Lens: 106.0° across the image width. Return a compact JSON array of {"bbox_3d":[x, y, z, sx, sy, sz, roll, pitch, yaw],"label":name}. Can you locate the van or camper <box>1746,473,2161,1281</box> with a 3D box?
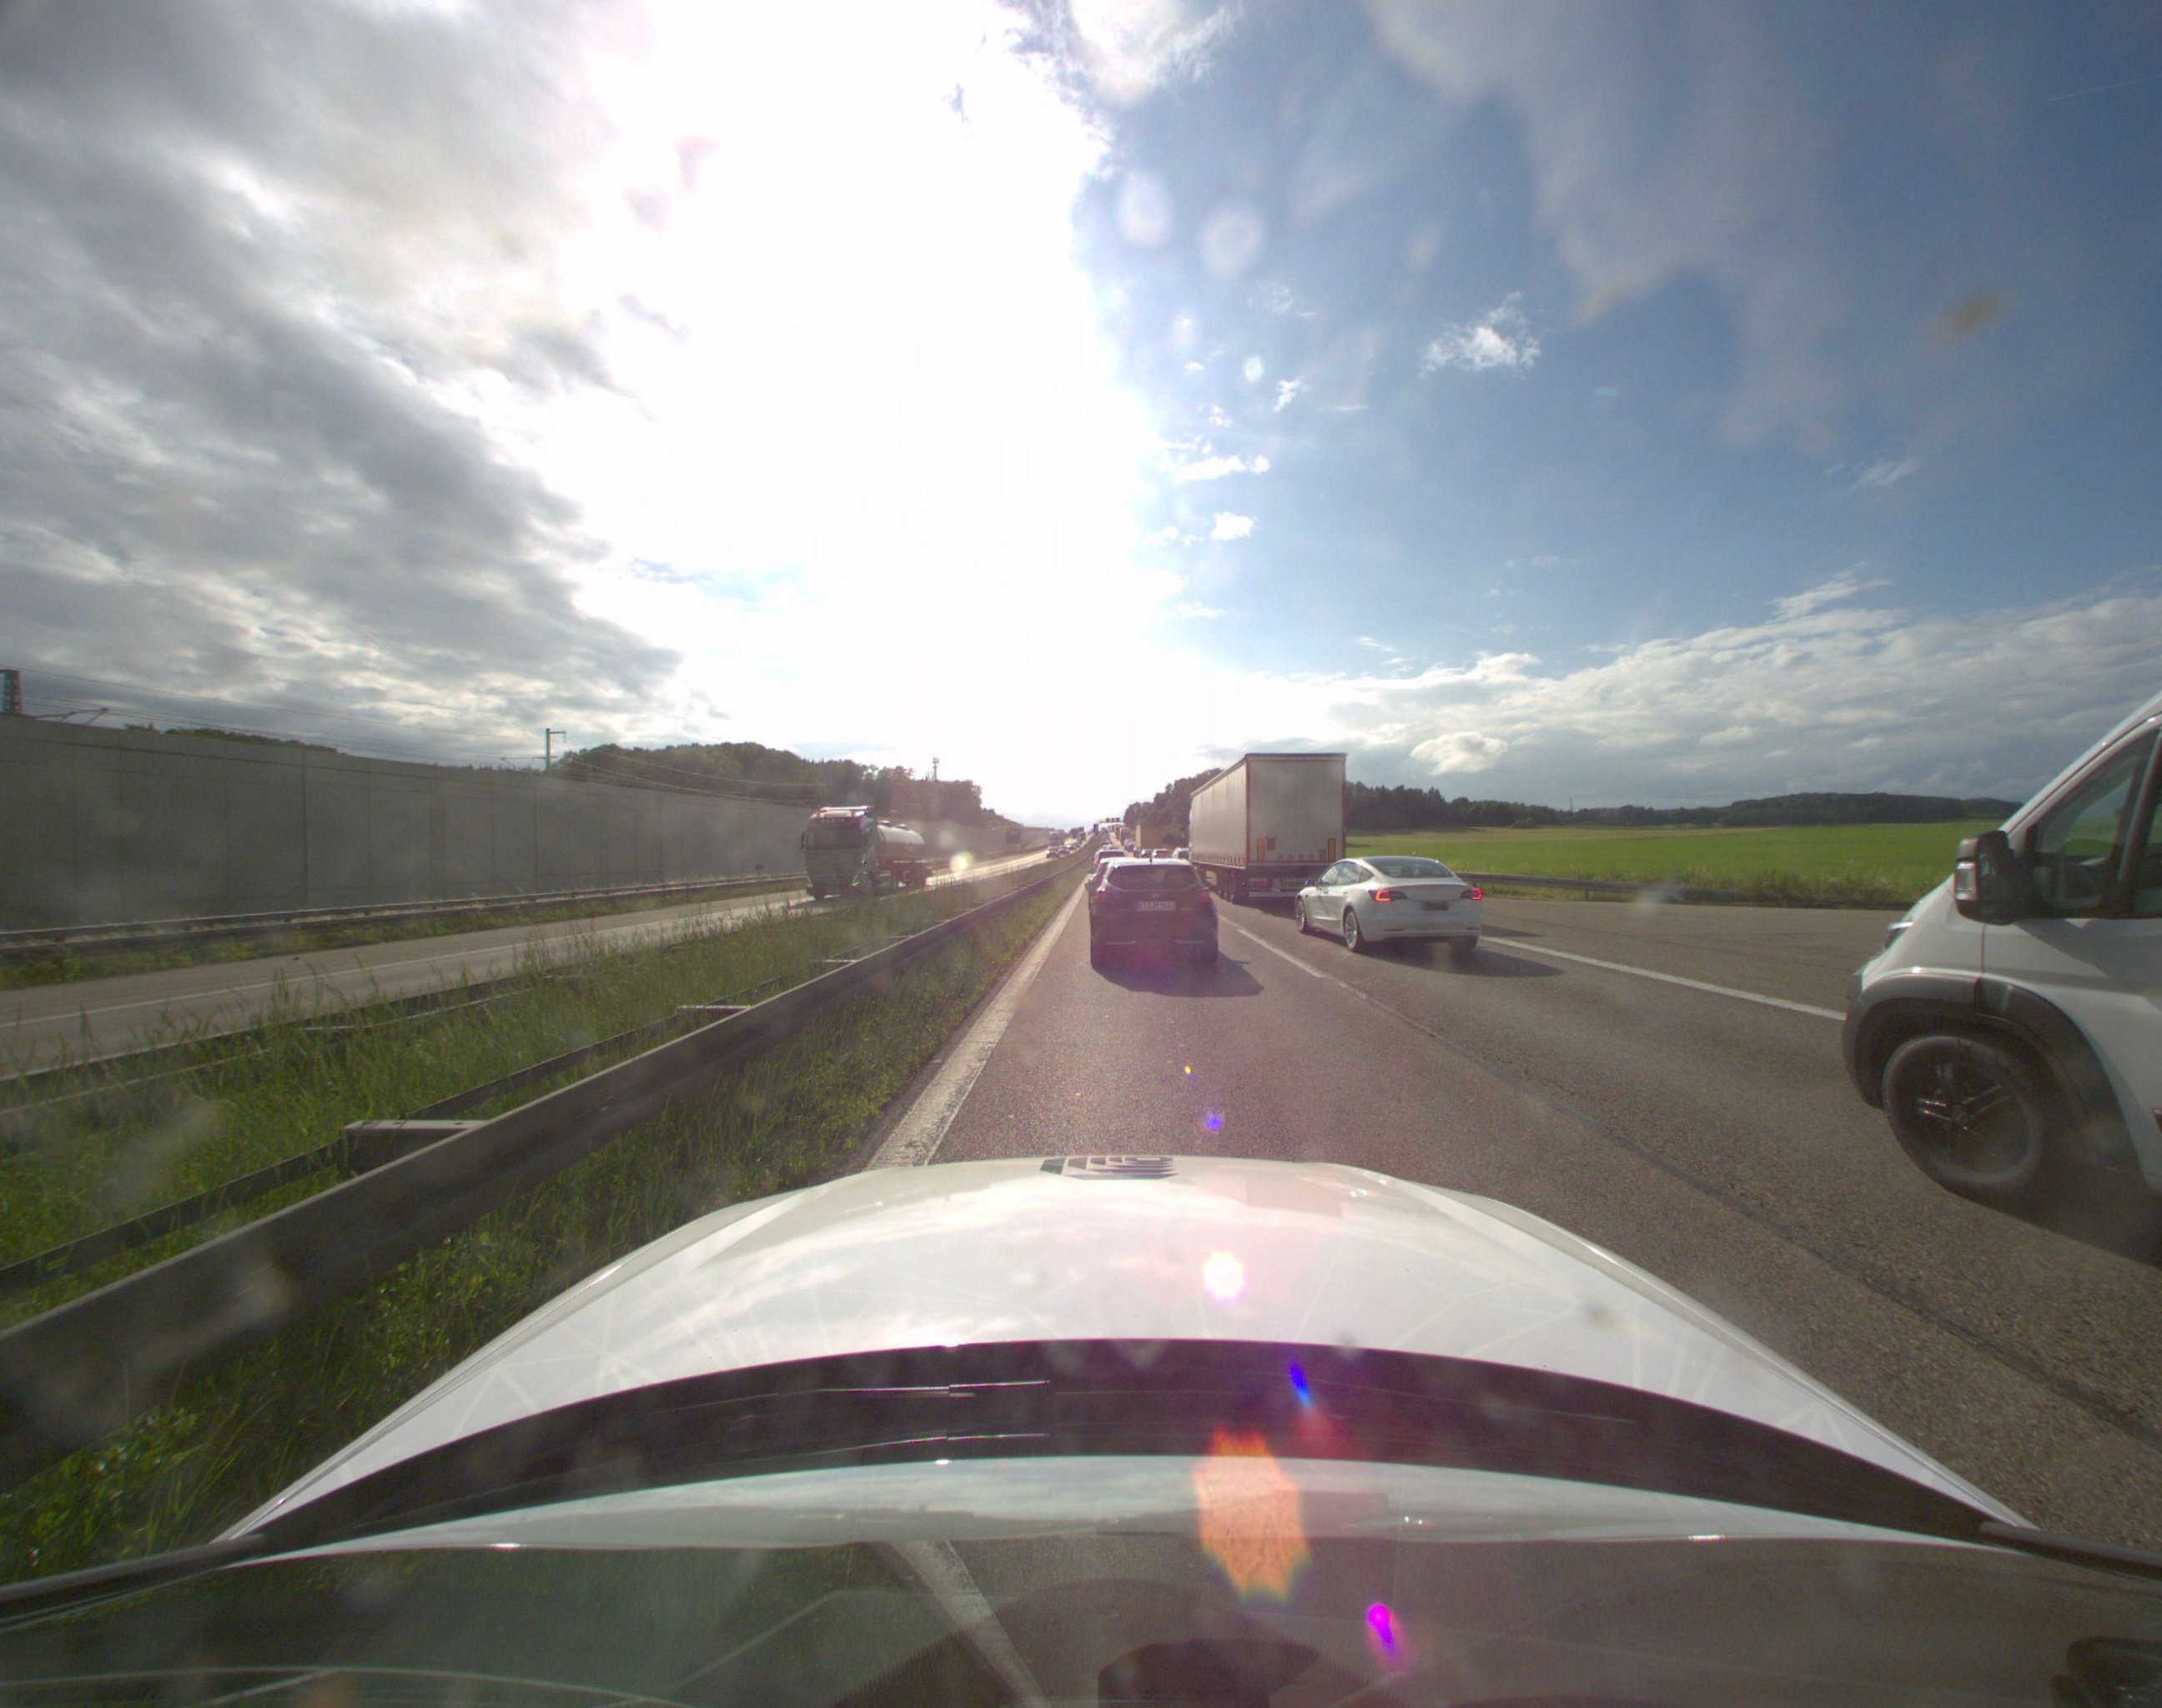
[{"bbox_3d":[4.652,0.054,1.213,2.207,2.681,6.334,-1,0,1],"label":"van or camper"}]

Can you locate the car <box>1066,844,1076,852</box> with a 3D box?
[{"bbox_3d":[-2.144,-1.255,171.445,1.762,1.479,3.831,-1,-1,2],"label":"car"}]

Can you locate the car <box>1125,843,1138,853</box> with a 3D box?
[{"bbox_3d":[8.911,-1.044,143.176,1.868,1.644,4.230,-1,1,-1],"label":"car"}]

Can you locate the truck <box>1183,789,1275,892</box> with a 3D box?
[{"bbox_3d":[6.098,-0.494,34.404,3.121,4.016,5.166,-1,-1,2],"label":"truck"}]

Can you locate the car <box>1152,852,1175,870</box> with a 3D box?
[{"bbox_3d":[7.803,0.642,77.736,1.866,1.644,4.234,-2,0,2],"label":"car"}]

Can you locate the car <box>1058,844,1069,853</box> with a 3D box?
[{"bbox_3d":[-3.120,-0.879,142.866,1.691,1.499,4.428,-1,0,1],"label":"car"}]

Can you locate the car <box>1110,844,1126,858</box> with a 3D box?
[{"bbox_3d":[4.618,-0.416,101.911,1.866,1.644,4.235,-1,1,2],"label":"car"}]

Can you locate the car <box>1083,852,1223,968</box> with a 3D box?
[{"bbox_3d":[1.005,0.730,12.612,1.766,1.451,4.234,-1,0,2],"label":"car"}]

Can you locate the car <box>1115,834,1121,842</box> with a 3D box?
[{"bbox_3d":[11.623,-5.029,255.331,1.866,2.158,5.214,-1,3,2],"label":"car"}]

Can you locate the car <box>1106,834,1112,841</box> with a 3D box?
[{"bbox_3d":[8.650,-5.153,251.896,1.866,2.158,5.214,-1,3,2],"label":"car"}]

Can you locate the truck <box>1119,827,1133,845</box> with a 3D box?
[{"bbox_3d":[12.480,-4.967,225.807,3.452,4.576,12.442,0,1,1],"label":"truck"}]

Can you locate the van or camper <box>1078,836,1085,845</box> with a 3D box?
[{"bbox_3d":[0.055,-4.328,260.178,2.082,2.819,5.897,0,-1,2],"label":"van or camper"}]

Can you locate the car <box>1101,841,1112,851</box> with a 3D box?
[{"bbox_3d":[4.441,-1.453,142.261,1.867,1.644,4.233,-1,1,1],"label":"car"}]

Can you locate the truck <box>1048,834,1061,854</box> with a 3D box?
[{"bbox_3d":[-5.949,-2.239,181.254,2.371,4.181,5.934,-2,0,2],"label":"truck"}]

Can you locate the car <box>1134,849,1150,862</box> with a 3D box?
[{"bbox_3d":[8.416,0.226,111.887,1.867,1.644,4.231,-1,0,0],"label":"car"}]

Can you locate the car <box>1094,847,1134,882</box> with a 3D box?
[{"bbox_3d":[1.660,0.512,41.441,1.866,1.644,4.234,-1,0,2],"label":"car"}]

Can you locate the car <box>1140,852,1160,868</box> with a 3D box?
[{"bbox_3d":[7.395,0.646,87.205,1.866,1.644,4.234,-1,0,2],"label":"car"}]

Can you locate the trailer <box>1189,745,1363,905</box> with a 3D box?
[{"bbox_3d":[5.803,-0.616,27.255,3.118,4.011,13.373,-1,-1,2],"label":"trailer"}]

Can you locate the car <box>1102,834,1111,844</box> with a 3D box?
[{"bbox_3d":[5.781,-3.418,186.249,1.866,2.158,5.214,-1,3,2],"label":"car"}]

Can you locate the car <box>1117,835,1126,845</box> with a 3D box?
[{"bbox_3d":[9.925,-3.456,200.130,1.866,2.158,5.214,-1,3,2],"label":"car"}]

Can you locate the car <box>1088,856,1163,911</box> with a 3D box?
[{"bbox_3d":[1.214,0.754,22.890,1.866,1.358,4.234,-1,0,2],"label":"car"}]

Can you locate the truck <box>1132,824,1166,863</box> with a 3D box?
[{"bbox_3d":[8.255,-1.163,100.673,3.286,4.577,12.440,0,-1,1],"label":"truck"}]

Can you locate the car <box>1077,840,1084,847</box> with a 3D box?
[{"bbox_3d":[-0.176,-2.844,221.013,1.702,1.706,4.174,-1,0,1],"label":"car"}]

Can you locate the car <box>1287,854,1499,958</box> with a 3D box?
[{"bbox_3d":[4.873,0.714,13.457,1.783,1.394,4.436,-1,0,0],"label":"car"}]

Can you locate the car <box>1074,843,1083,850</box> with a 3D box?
[{"bbox_3d":[-0.585,-1.767,191.971,1.735,1.358,4.234,-1,0,2],"label":"car"}]

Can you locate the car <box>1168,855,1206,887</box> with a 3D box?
[{"bbox_3d":[5.737,0.887,44.392,1.690,1.610,4.440,-1,0,3],"label":"car"}]

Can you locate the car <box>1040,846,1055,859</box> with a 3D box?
[{"bbox_3d":[-4.928,-0.221,119.723,1.774,1.737,4.104,-1,0,2],"label":"car"}]

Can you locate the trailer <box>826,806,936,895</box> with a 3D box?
[{"bbox_3d":[-9.947,-0.144,42.010,2.579,3.902,10.867,-2,0,1],"label":"trailer"}]

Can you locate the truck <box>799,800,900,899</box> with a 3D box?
[{"bbox_3d":[-10.081,-0.163,36.095,2.573,3.923,5.724,-2,0,2],"label":"truck"}]

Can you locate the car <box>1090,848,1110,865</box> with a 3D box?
[{"bbox_3d":[1.952,0.225,82.250,1.866,1.644,4.234,-1,1,2],"label":"car"}]
